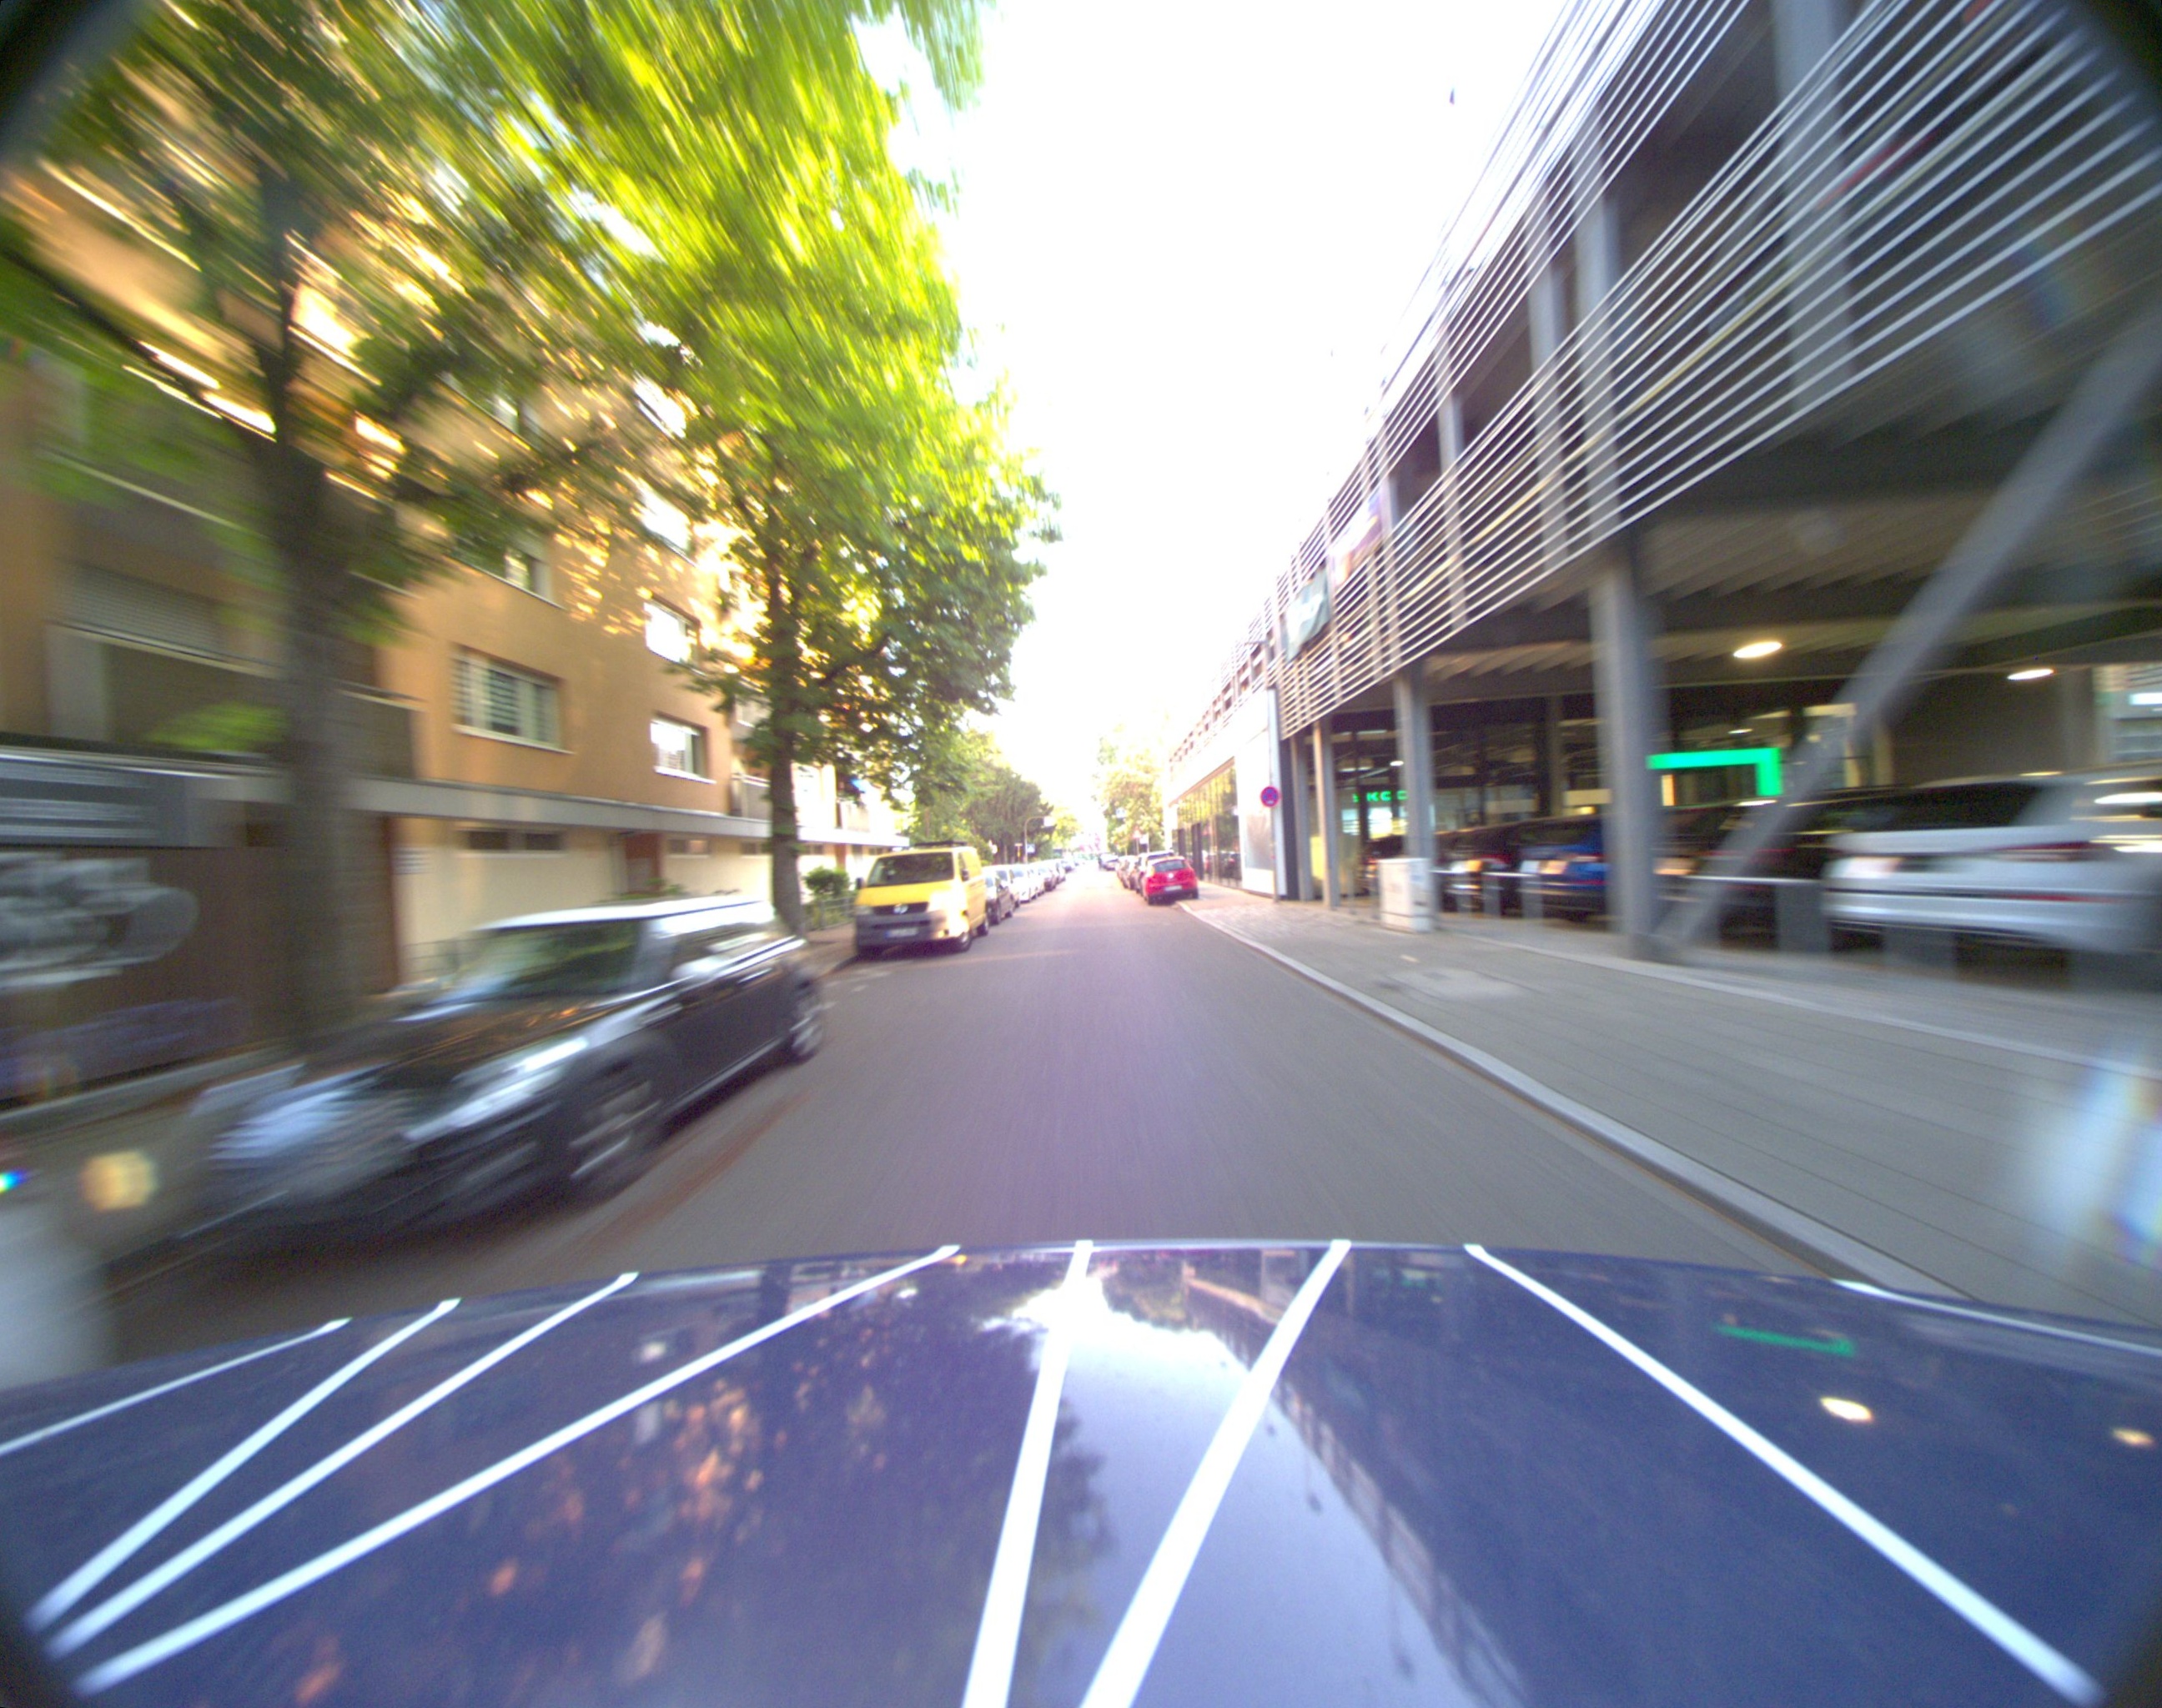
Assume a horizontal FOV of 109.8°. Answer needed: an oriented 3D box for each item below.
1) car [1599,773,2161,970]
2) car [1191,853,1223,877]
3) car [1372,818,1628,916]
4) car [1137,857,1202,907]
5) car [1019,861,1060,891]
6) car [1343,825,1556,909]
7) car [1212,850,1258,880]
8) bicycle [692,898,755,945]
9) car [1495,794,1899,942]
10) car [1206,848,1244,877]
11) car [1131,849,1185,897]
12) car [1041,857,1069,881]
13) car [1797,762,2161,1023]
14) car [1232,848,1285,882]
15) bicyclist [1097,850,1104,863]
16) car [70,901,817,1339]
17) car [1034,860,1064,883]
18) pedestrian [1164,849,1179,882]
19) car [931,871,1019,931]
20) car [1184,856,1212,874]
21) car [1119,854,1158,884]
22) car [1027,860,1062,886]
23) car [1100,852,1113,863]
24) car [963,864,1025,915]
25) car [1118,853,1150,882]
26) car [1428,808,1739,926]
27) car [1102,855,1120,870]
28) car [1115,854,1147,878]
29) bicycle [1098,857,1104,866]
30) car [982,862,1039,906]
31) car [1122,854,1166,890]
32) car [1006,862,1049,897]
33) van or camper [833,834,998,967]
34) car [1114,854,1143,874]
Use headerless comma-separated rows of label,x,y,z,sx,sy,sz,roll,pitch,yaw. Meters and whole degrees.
car,8.413,0.187,8.280,4.159,1.674,1.860,-3,-1,2
car,8.807,0.754,53.424,1.597,1.513,3.877,-3,0,1
car,8.482,0.276,15.685,4.176,1.674,1.860,-3,-1,2
car,2.904,0.890,25.579,1.702,1.497,3.791,-3,0,1
car,-2.157,1.151,40.811,1.814,1.408,4.626,-3,0,1
car,8.586,0.309,17.971,4.052,1.674,1.860,-3,-1,2
car,8.548,0.583,42.460,1.702,1.506,4.192,-3,0,1
bicycle,-8.266,1.544,17.648,0.524,0.916,1.835,-3,-1,0
car,8.394,0.198,10.689,4.045,1.674,1.860,-3,-1,2
car,8.838,0.501,47.003,1.597,1.640,3.877,-3,0,1
car,3.050,0.738,30.935,1.702,1.745,4.403,-3,0,1
car,-1.910,1.095,56.089,1.814,1.566,3.885,-3,0,1
car,8.486,0.173,5.851,4.035,1.674,1.860,-3,-1,2
car,8.697,0.550,37.502,1.701,1.506,3.994,-3,0,1
bicyclist,2.645,0.323,102.533,0.861,1.797,1.016,-3,0,1
car,-3.054,1.127,4.644,1.567,1.441,3.454,-3,-1,1
car,-2.093,1.128,51.103,1.721,1.410,4.028,-3,0,1
pedestrian,5.143,0.654,43.322,0.722,1.867,0.620,-3,0,2
car,-2.782,1.206,20.727,1.610,1.373,4.001,-3,-1,2
car,9.023,0.833,58.656,1.597,1.285,3.451,-3,0,0
car,3.176,0.810,42.689,1.733,1.394,4.006,-8,0,0
car,-2.210,1.135,46.555,1.814,1.408,3.896,-3,0,1
car,4.657,0.655,138.339,1.964,1.825,3.884,-8,0,-2
car,-2.883,1.158,25.796,1.613,1.501,3.478,-3,0,1
car,3.248,0.825,47.364,1.665,1.488,3.885,-8,0,2
car,8.483,0.234,13.149,4.045,1.674,1.860,-3,-1,2
car,3.612,1.015,91.864,1.786,1.442,3.884,-8,0,-2
car,3.489,0.830,53.486,1.666,1.402,3.927,-8,0,-2
bicycle,2.687,0.989,102.490,0.761,1.090,1.864,-2,0,0
car,-2.747,1.144,30.492,1.796,1.553,4.194,-3,0,1
car,3.049,0.861,37.618,1.942,1.587,4.206,-3,-1,3
car,-2.460,1.155,35.828,1.613,1.452,4.054,-3,0,1
van or camper,-3.007,0.811,15.090,2.069,2.083,5.091,-3,-1,0
car,3.956,0.845,63.670,1.666,1.505,3.883,-6,-1,-5
